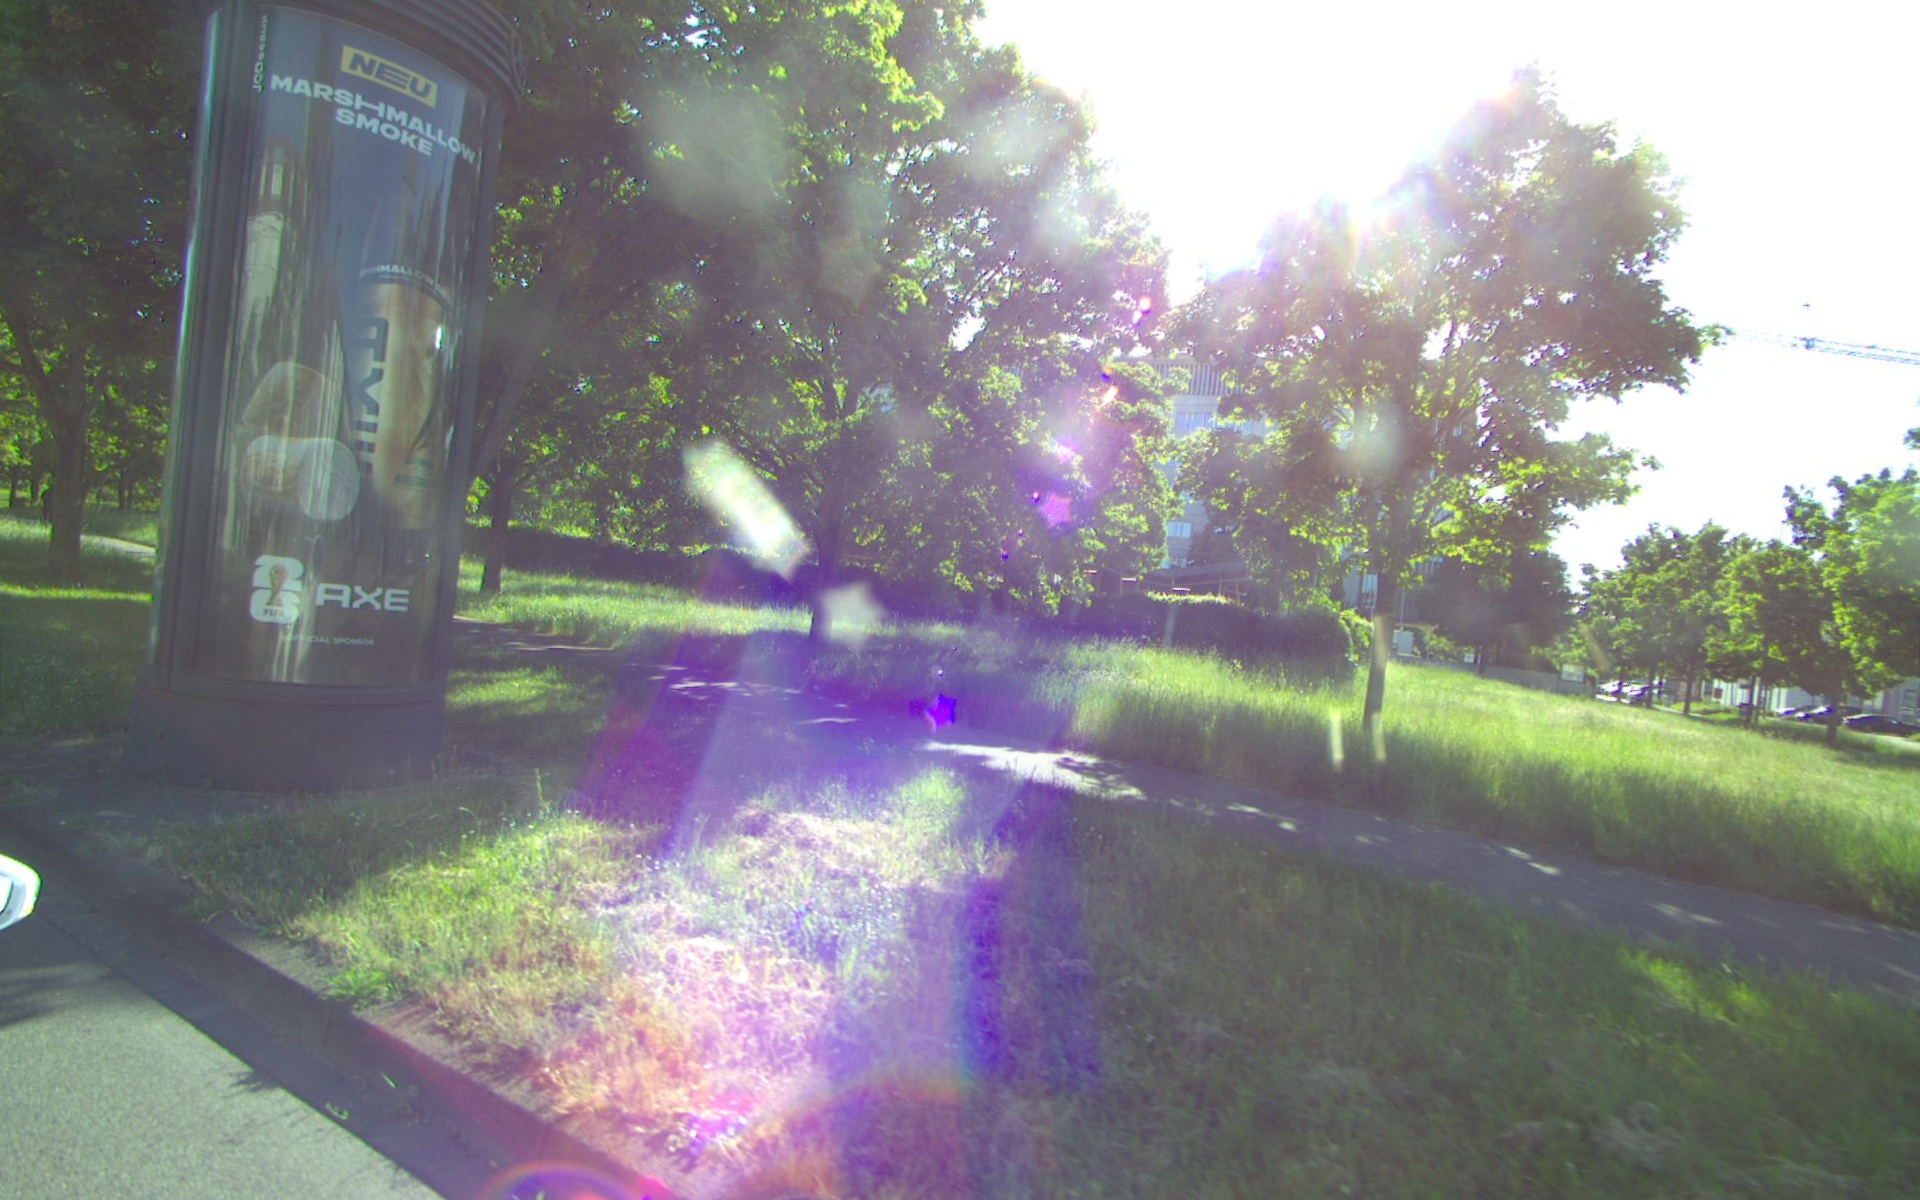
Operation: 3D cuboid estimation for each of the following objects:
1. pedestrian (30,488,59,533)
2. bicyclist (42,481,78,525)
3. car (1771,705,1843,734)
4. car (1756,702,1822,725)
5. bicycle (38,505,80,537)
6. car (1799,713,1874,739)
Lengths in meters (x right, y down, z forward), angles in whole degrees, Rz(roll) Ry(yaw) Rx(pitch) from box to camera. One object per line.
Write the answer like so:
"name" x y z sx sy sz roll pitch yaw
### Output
"pedestrian" -39.144 -3.827 43.007 0.782 1.825 0.715 7 0 40
"bicyclist" -32.982 -3.546 36.889 0.784 1.468 0.837 5 1 -34
"car" 73.323 10.366 87.157 4.209 1.777 1.918 7 0 23
"car" 76.605 10.504 93.012 4.209 1.437 1.919 7 0 22
"bicycle" -33.037 -2.873 36.898 0.789 1.060 2.123 6 0 -34
"car" 73.378 10.509 84.328 4.209 1.437 1.919 7 0 22
